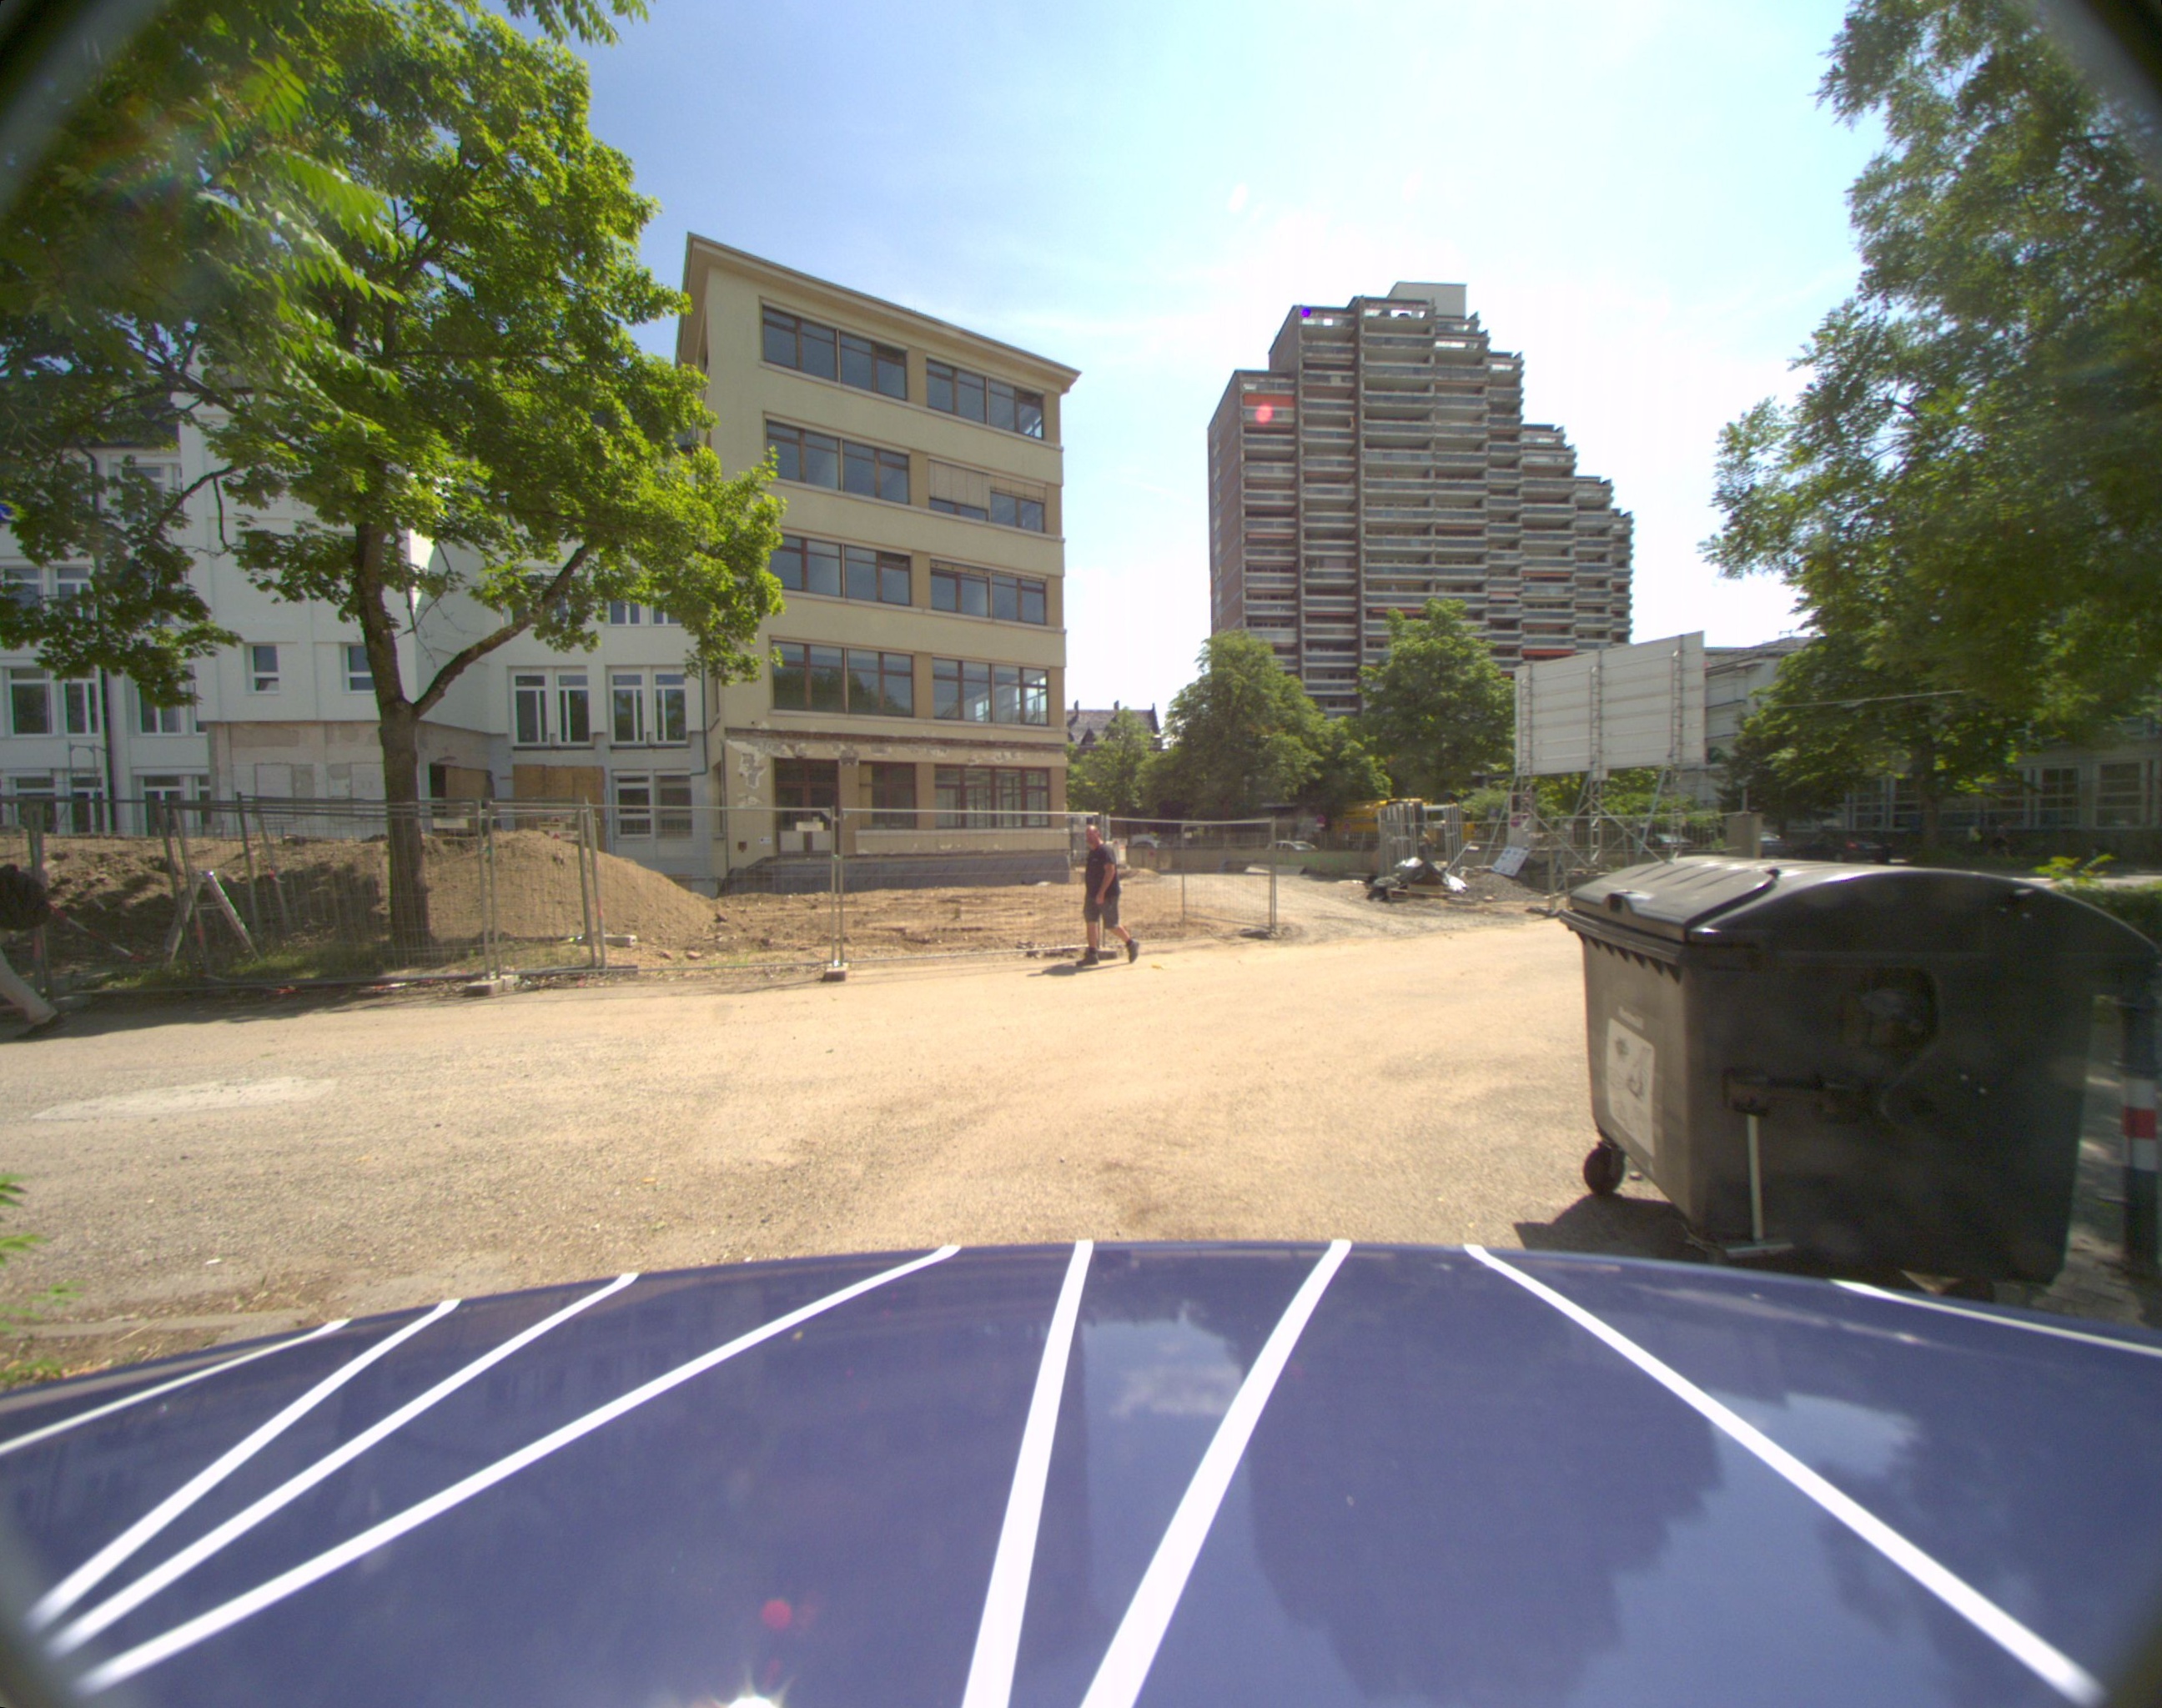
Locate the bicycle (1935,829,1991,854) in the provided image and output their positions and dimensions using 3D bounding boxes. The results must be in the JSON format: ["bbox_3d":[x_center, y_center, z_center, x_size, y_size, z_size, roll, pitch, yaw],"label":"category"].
[{"bbox_3d":[40.891,-0.567,35.247,1.926,1.124,0.568,-1,2,0],"label":"bicycle"}]

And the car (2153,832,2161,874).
[{"bbox_3d":[38.378,-0.011,24.679,1.751,1.461,4.201,-1,1,13],"label":"car"}]

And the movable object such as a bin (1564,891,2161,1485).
[{"bbox_3d":[2.435,0.864,2.575,1.113,1.386,1.162,0,2,20],"label":"movable object such as a bin"}]

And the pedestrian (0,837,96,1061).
[{"bbox_3d":[-8.905,0.733,5.958,1.080,1.720,0.875,-1,2,-11],"label":"pedestrian"}]

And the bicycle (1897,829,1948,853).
[{"bbox_3d":[40.742,-0.629,36.784,1.927,1.124,0.568,-1,2,-3],"label":"bicycle"}]

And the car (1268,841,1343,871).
[{"bbox_3d":[11.341,0.061,38.543,1.625,1.432,3.575,-2,2,-27],"label":"car"}]

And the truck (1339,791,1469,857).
[{"bbox_3d":[21.574,-1.947,51.611,2.752,3.983,9.730,-2,2,-14],"label":"truck"}]

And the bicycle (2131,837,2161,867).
[{"bbox_3d":[41.862,-0.099,29.186,2.233,1.124,0.568,-1,2,0],"label":"bicycle"}]

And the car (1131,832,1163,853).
[{"bbox_3d":[6.808,-1.207,77.818,1.995,2.002,4.006,-1,2,24],"label":"car"}]

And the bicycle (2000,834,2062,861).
[{"bbox_3d":[40.912,-0.271,32.730,1.942,1.124,0.568,-1,2,0],"label":"bicycle"}]

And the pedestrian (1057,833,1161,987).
[{"bbox_3d":[0.342,0.651,9.574,0.969,1.809,0.868,-2,2,-30],"label":"pedestrian"}]

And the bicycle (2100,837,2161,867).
[{"bbox_3d":[41.683,-0.088,30.067,1.942,1.124,0.568,-1,2,0],"label":"bicycle"}]

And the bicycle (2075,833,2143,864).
[{"bbox_3d":[41.682,-0.231,30.818,1.942,1.230,0.568,-1,2,0],"label":"bicycle"}]

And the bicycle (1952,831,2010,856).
[{"bbox_3d":[40.854,-0.489,34.489,1.942,1.124,0.568,-1,2,0],"label":"bicycle"}]

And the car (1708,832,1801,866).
[{"bbox_3d":[31.297,-0.261,35.469,1.816,1.454,4.027,-1,1,19],"label":"car"}]

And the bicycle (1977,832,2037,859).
[{"bbox_3d":[40.838,-0.380,33.517,1.942,1.124,0.568,-1,2,0],"label":"bicycle"}]

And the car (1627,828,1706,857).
[{"bbox_3d":[29.588,-0.593,38.522,1.627,1.365,4.025,-1,1,13],"label":"car"}]

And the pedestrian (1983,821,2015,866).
[{"bbox_3d":[37.835,-0.438,31.318,0.716,1.864,0.576,-1,2,-17],"label":"pedestrian"}]

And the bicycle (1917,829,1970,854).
[{"bbox_3d":[40.896,-0.591,36.018,1.927,1.124,0.568,-1,2,-3],"label":"bicycle"}]

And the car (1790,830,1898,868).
[{"bbox_3d":[33.002,-0.241,33.001,1.647,1.508,3.579,-1,1,13],"label":"car"}]
